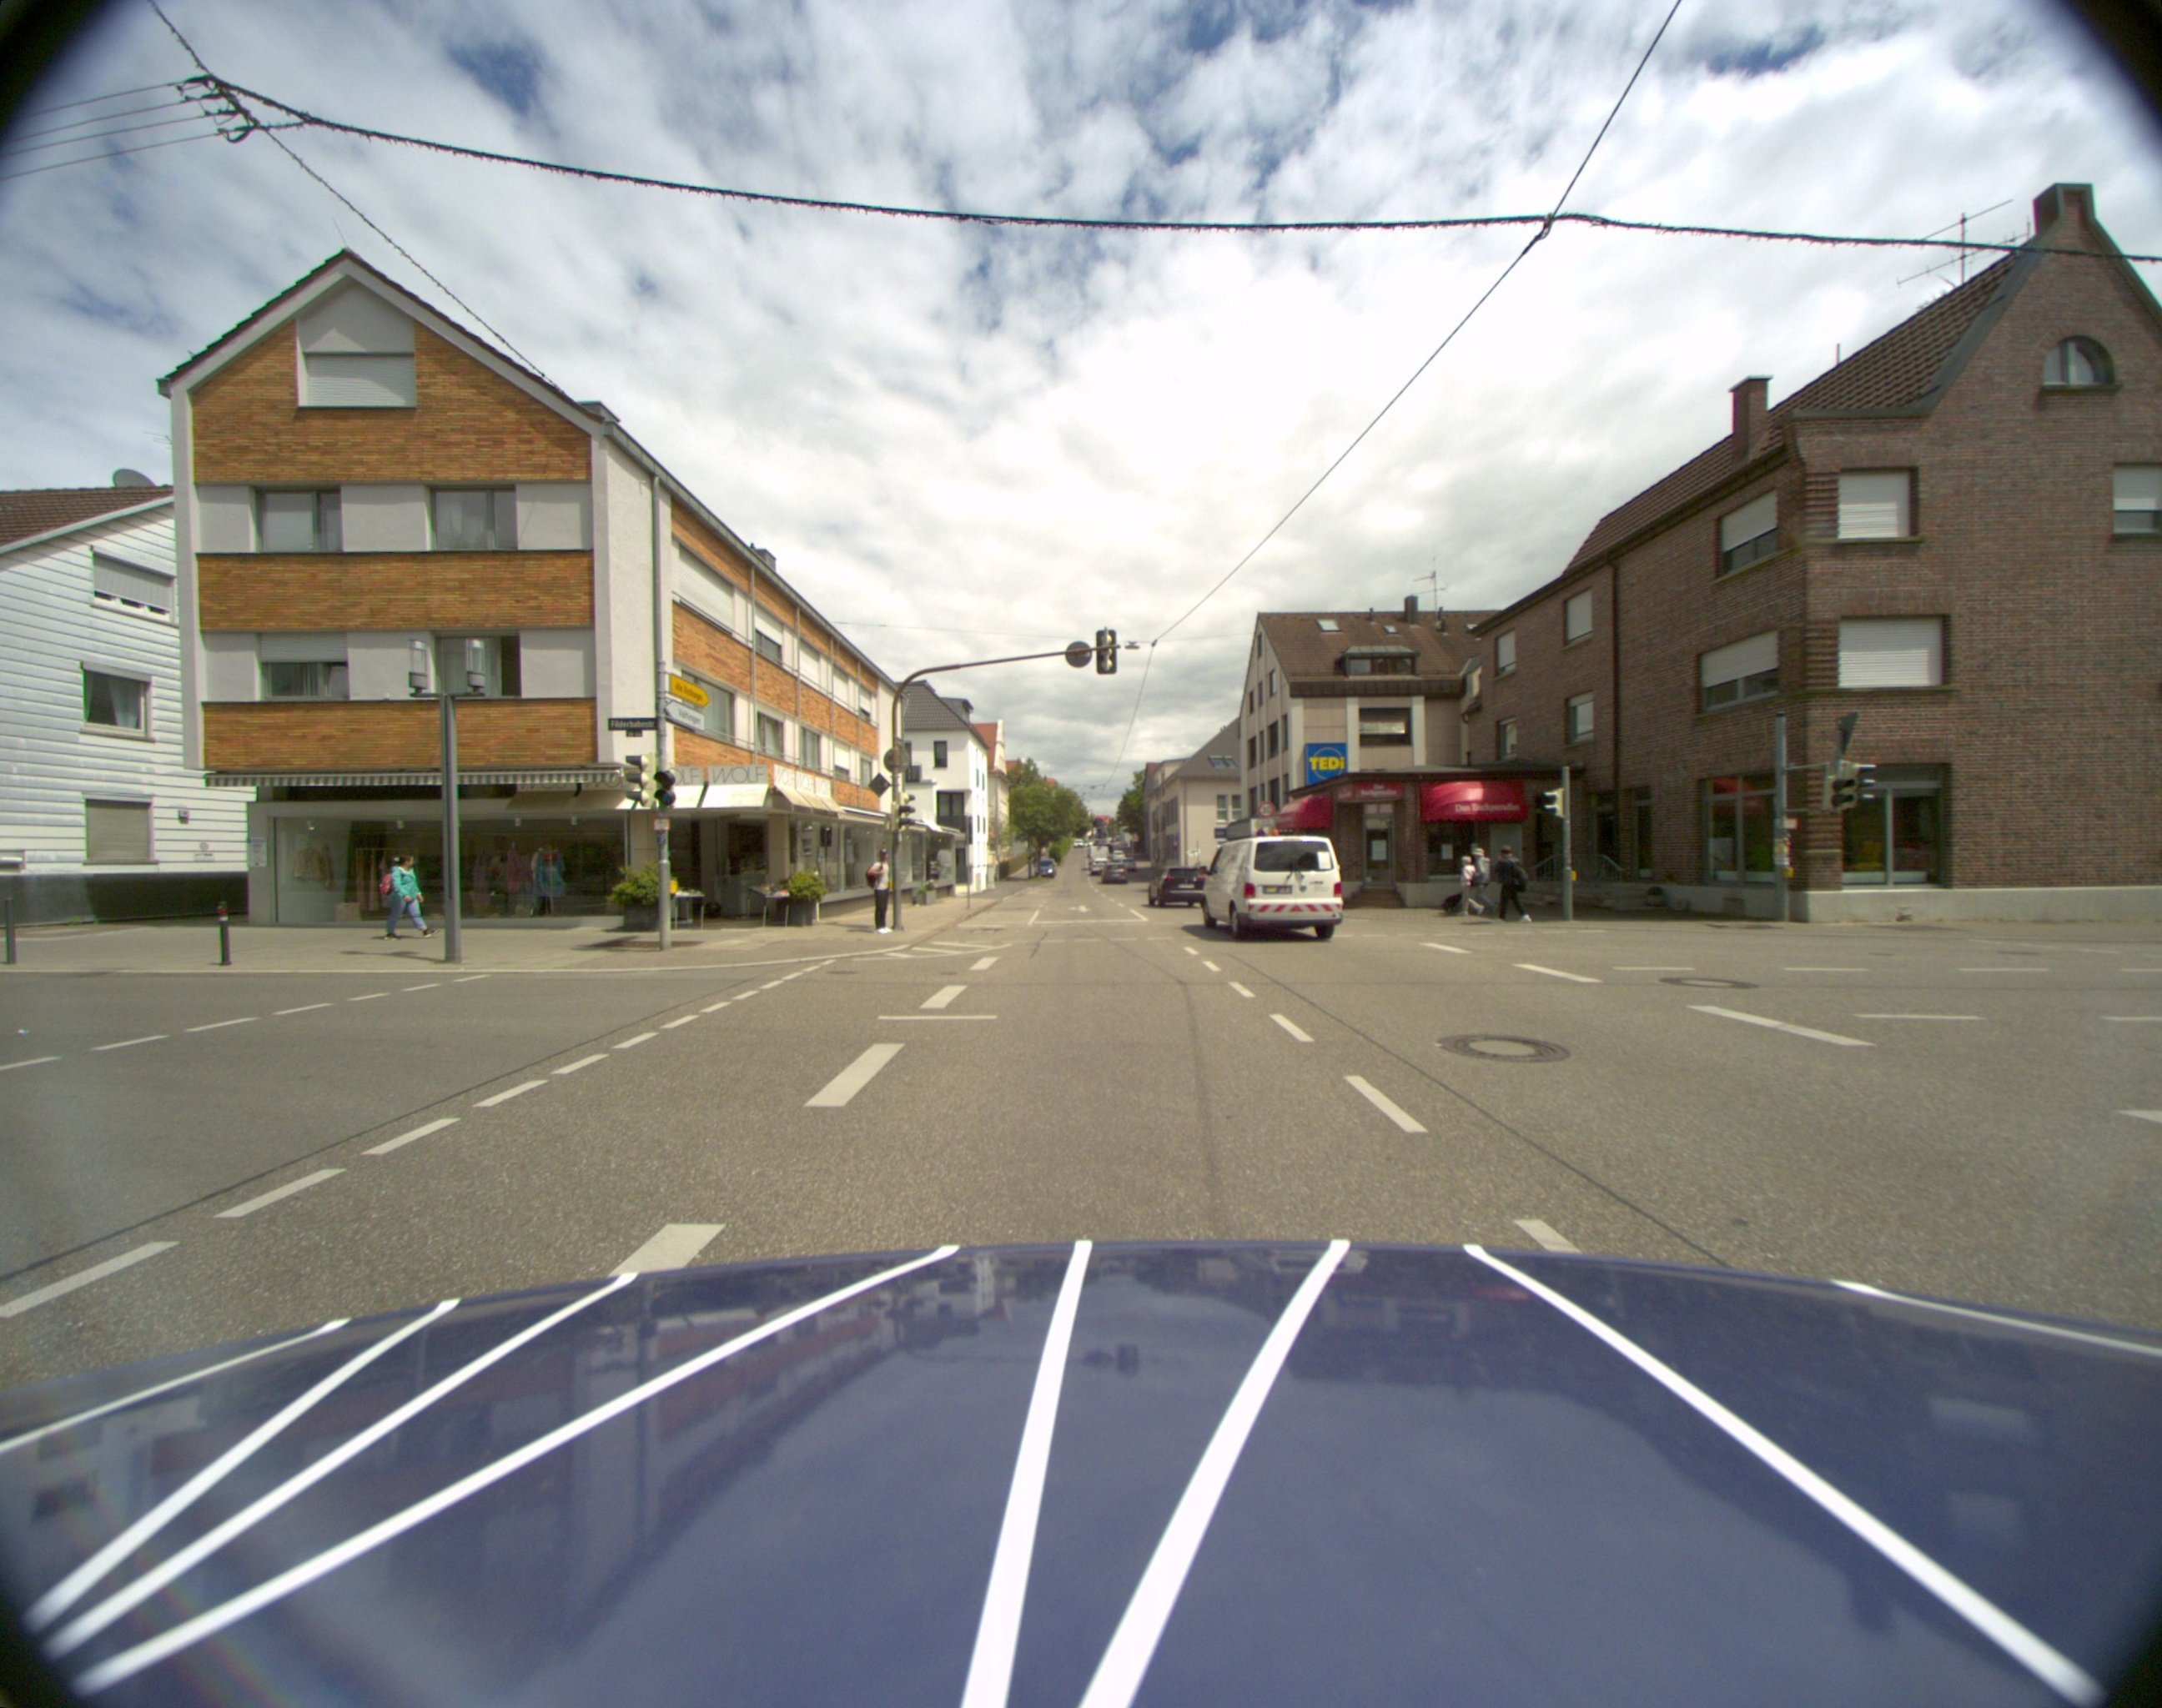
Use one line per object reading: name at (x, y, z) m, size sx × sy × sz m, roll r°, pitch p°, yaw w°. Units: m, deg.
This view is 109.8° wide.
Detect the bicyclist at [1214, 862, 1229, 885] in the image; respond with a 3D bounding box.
bicyclist at (8.355, 1.162, 45.296) m, size 0.669 × 1.330 × 0.761 m, roll -4°, pitch 2°, yaw 0°

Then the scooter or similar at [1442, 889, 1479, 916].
scooter or similar at (9.824, 1.243, 19.683) m, size 0.380 × 0.642 × 0.808 m, roll 1°, pitch 0°, yaw -22°

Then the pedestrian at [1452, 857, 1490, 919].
pedestrian at (9.737, 0.837, 19.004) m, size 0.525 × 1.477 × 0.761 m, roll -2°, pitch 2°, yaw -2°

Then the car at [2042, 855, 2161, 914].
car at (26.605, 0.727, 18.364) m, size 1.749 × 1.408 × 4.000 m, roll 0°, pitch 0°, yaw 1°

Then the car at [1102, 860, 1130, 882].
car at (2.636, 1.248, 58.140) m, size 1.794 × 1.580 × 4.099 m, roll 0°, pitch 1°, yaw -2°

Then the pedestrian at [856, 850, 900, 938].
pedestrian at (-4.327, 0.843, 16.200) m, size 0.614 × 1.803 × 0.774 m, roll 3°, pitch -1°, yaw -32°

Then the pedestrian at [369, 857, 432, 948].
pedestrian at (-12.067, 0.837, 13.487) m, size 0.589 × 1.550 × 0.528 m, roll -2°, pitch 2°, yaw -16°

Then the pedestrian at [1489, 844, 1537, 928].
pedestrian at (9.504, 0.689, 16.740) m, size 0.627 × 1.786 × 0.720 m, roll -2°, pitch 2°, yaw -2°

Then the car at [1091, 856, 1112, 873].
car at (1.975, 0.983, 72.704) m, size 1.785 × 1.630 × 4.220 m, roll 0°, pitch 0°, yaw -1°

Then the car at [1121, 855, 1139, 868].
car at (5.142, 0.804, 80.525) m, size 1.665 × 1.322 × 3.474 m, roll 0°, pitch 0°, yaw 0°

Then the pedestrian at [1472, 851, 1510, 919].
pedestrian at (10.281, 0.754, 19.069) m, size 0.525 × 1.649 × 0.761 m, roll -2°, pitch 2°, yaw -2°

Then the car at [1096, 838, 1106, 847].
car at (4.193, -2.453, 162.872) m, size 1.946 × 1.709 × 4.597 m, roll 0°, pitch 0°, yaw -1°

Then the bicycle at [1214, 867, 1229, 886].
bicycle at (8.371, 1.342, 45.292) m, size 0.444 × 1.044 × 1.734 m, roll -4°, pitch 1°, yaw 0°

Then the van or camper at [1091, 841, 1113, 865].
van or camper at (2.281, -0.097, 84.867) m, size 2.154 × 2.541 × 5.438 m, roll 0°, pitch -1°, yaw -2°

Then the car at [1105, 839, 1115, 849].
car at (4.981, -1.763, 131.601) m, size 1.673 × 1.545 × 3.963 m, roll 0°, pitch 3°, yaw 0°

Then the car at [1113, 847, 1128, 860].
car at (5.099, -0.105, 98.620) m, size 1.737 × 1.480 × 4.064 m, roll 0°, pitch 3°, yaw 0°

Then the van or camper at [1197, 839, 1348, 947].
van or camper at (3.770, 0.745, 15.883) m, size 1.869 × 1.886 × 4.692 m, roll -1°, pitch -1°, yaw -1°

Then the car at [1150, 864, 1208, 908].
car at (3.584, 1.135, 28.449) m, size 1.687 × 1.488 × 3.967 m, roll 0°, pitch 0°, yaw 0°

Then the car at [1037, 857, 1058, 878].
car at (-3.030, 1.191, 69.862) m, size 1.698 × 1.733 × 4.158 m, roll -1°, pitch 1°, yaw 0°

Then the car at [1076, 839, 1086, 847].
car at (0.052, -2.243, 155.733) m, size 1.946 × 1.605 × 4.453 m, roll 0°, pitch 0°, yaw -1°
